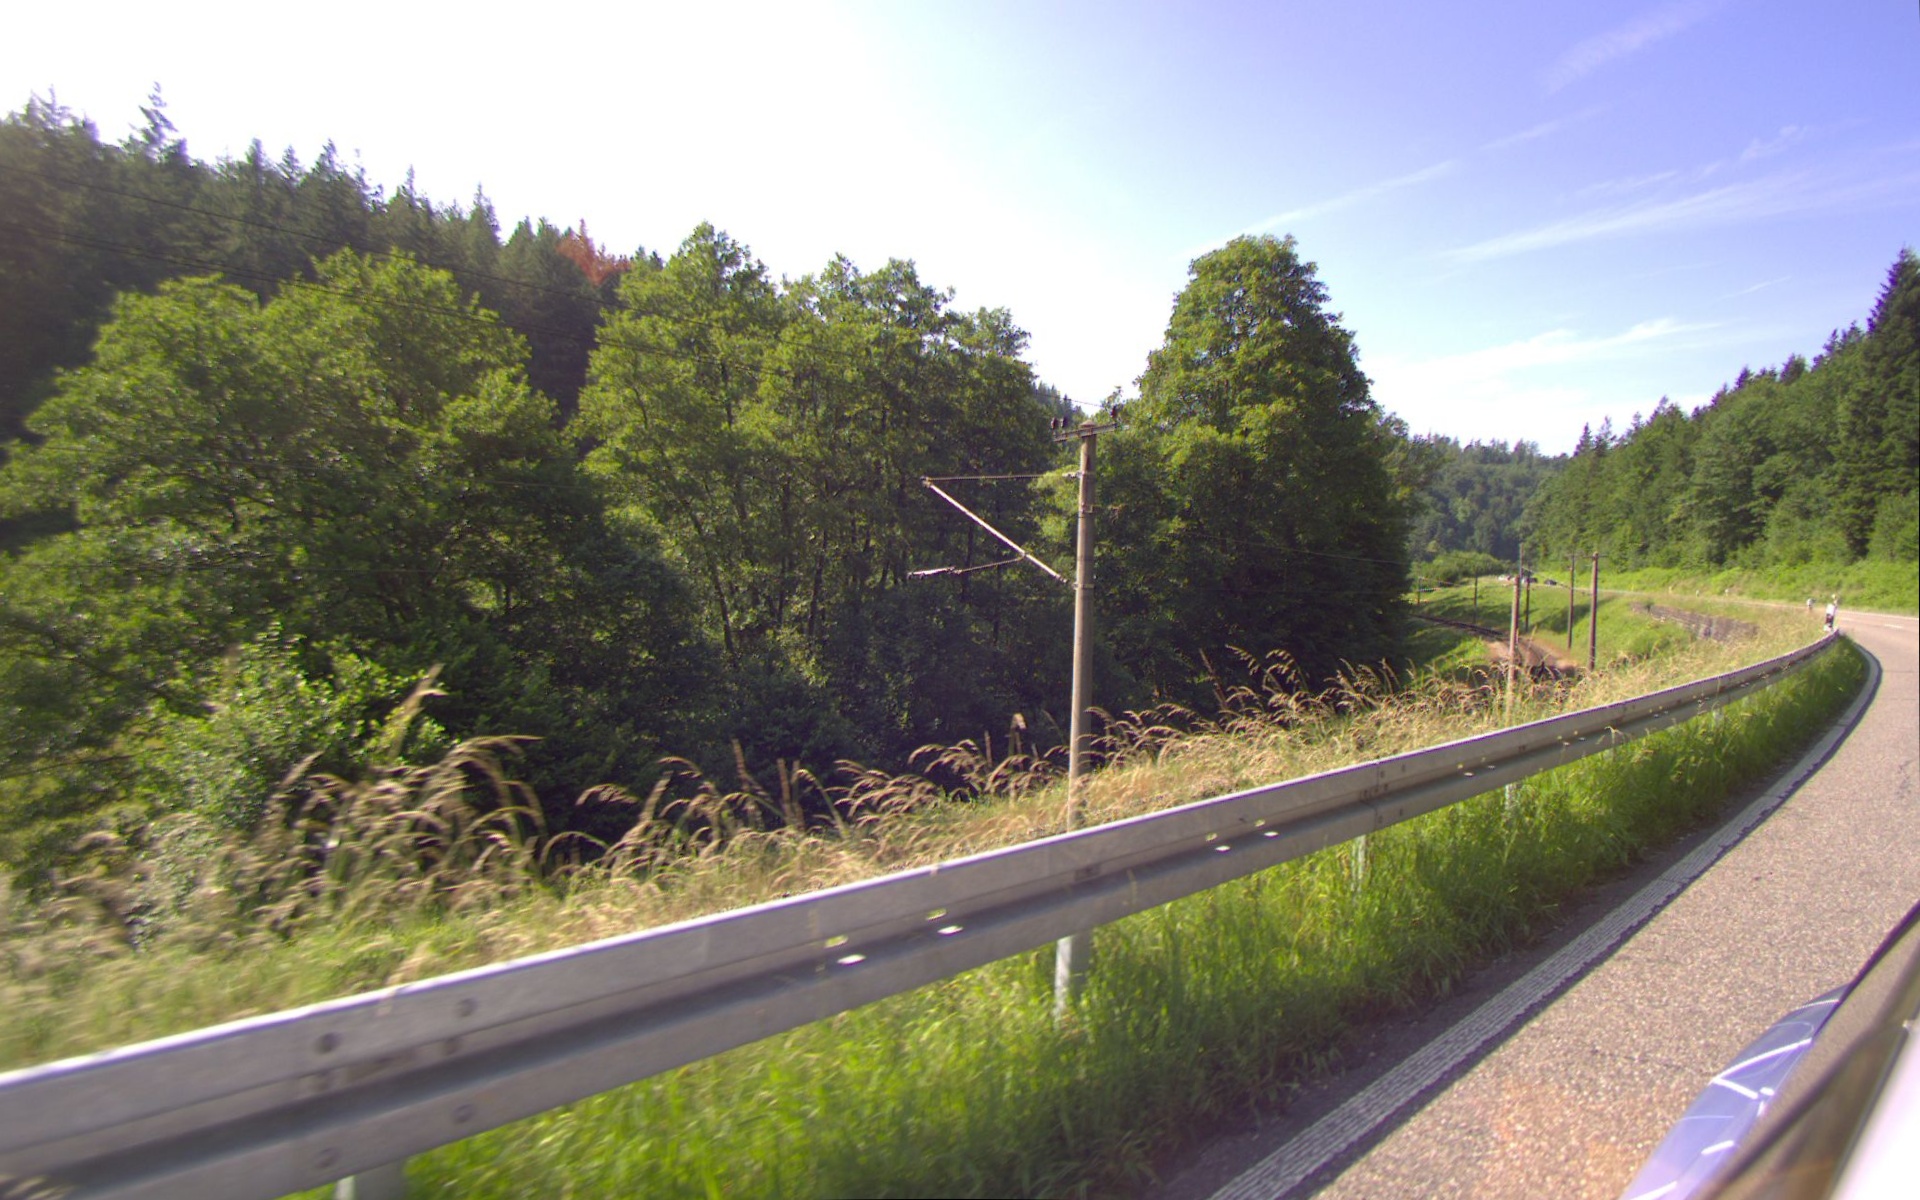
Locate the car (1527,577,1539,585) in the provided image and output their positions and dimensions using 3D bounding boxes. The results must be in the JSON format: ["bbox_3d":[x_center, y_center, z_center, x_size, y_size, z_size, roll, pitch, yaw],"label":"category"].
[{"bbox_3d":[119.476,-4.054,211.156,1.819,1.649,4.316,1,1,25],"label":"car"}]
